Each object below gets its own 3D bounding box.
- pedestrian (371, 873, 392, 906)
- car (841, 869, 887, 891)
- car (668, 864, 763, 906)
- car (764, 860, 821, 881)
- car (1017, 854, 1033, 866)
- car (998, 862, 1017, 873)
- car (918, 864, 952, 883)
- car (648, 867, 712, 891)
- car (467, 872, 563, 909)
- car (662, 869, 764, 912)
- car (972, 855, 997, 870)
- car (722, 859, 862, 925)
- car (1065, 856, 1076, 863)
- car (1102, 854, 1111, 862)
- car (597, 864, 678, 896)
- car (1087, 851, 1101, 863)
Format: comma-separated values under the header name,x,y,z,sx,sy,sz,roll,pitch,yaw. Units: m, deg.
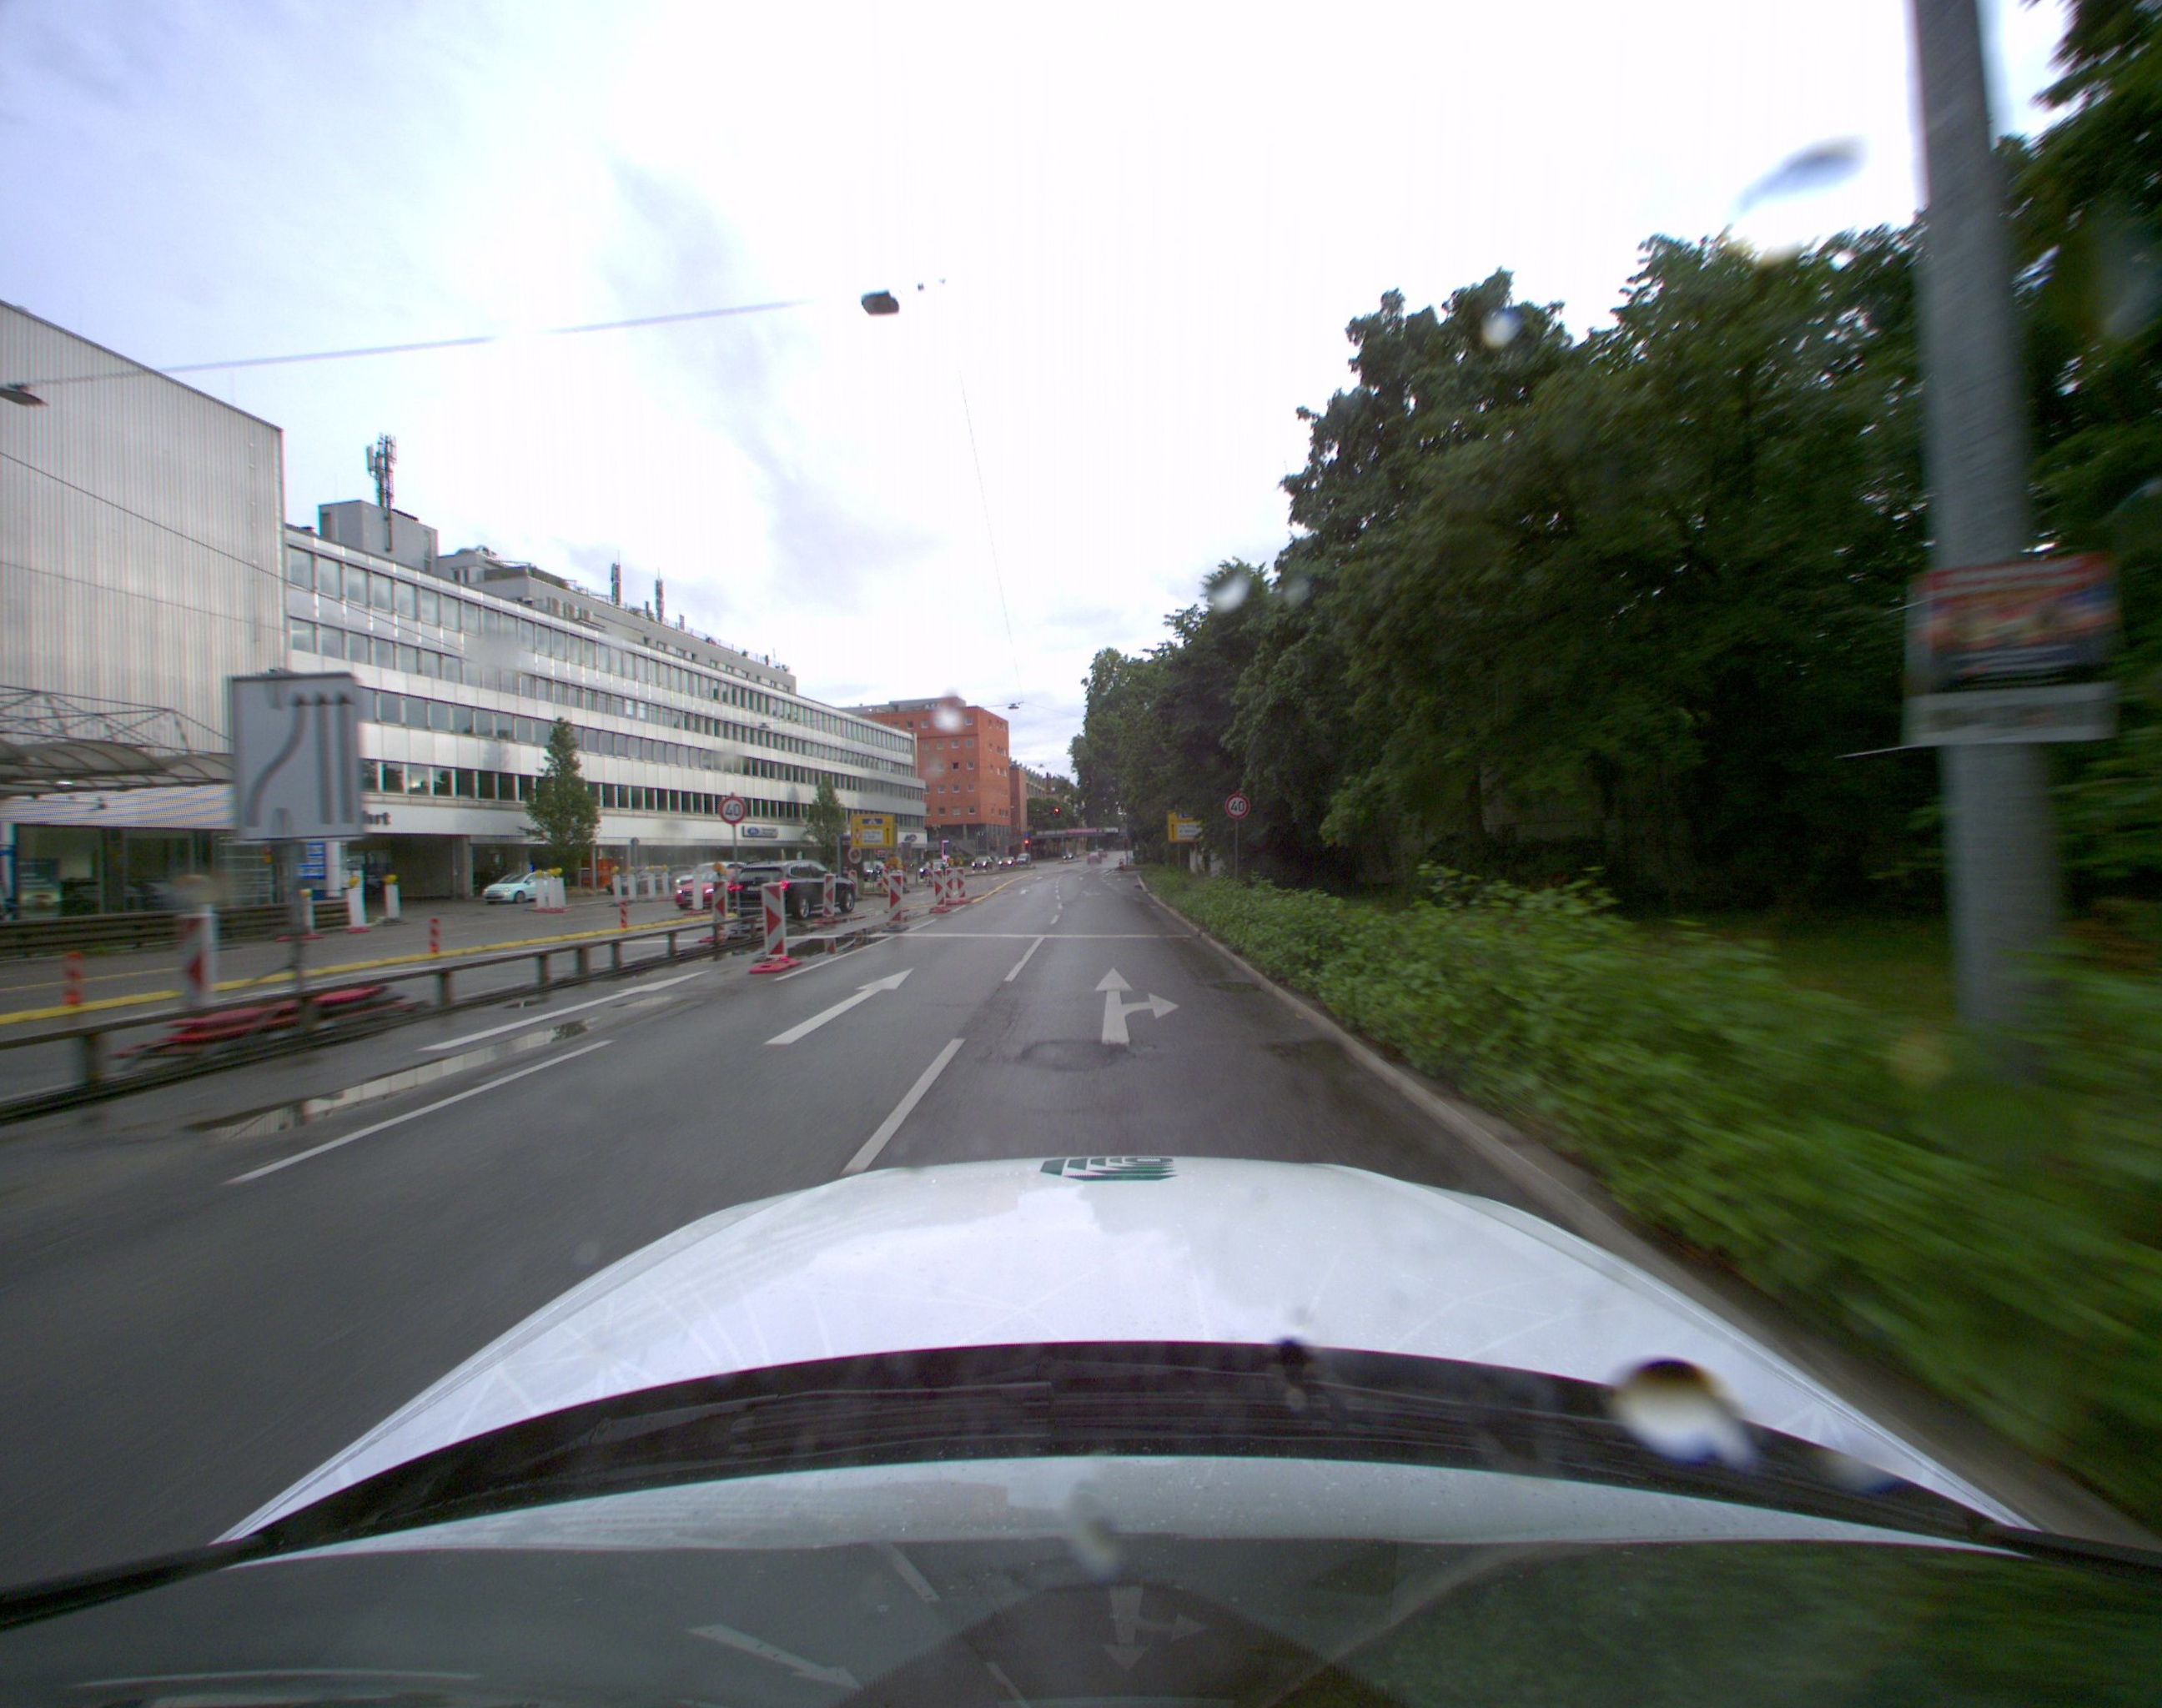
name,x,y,z,sx,sy,sz,roll,pitch,yaw
pedestrian,-37.682,1.884,43.870,0.671,1.720,0.700,-3,-1,-32
car,-15.870,1.885,59.772,1.742,1.513,4.009,-3,-1,8
car,-16.530,1.345,37.168,1.972,1.707,4.833,-2,0,1
car,-29.185,1.670,82.405,5.014,1.897,1.977,-3,-1,-39
car,-8.774,0.890,127.737,1.725,1.786,4.307,-3,0,5
car,-10.353,1.886,115.578,1.821,1.502,4.379,-3,0,5
car,-11.725,1.528,65.684,1.681,1.354,4.120,-3,0,4
car,-32.237,1.995,65.504,4.401,1.652,1.835,-3,-1,-32
car,-27.456,1.725,39.660,1.643,1.535,3.764,-3,0,8
car,-13.693,1.322,30.599,1.729,1.404,4.290,-1,0,1
car,-11.911,0.976,100.782,1.835,1.737,4.615,-2,0,8
car,-8.199,1.002,23.648,1.937,1.597,4.679,0,1,7
car,-2.365,1.149,178.536,1.984,1.519,4.005,-1,0,4
car,5.690,0.939,183.445,1.755,1.697,3.710,-3,0,4
car,-28.658,1.636,52.809,1.835,1.779,4.747,-3,0,13
car,2.047,0.452,126.640,2.112,1.734,4.200,0,1,2
